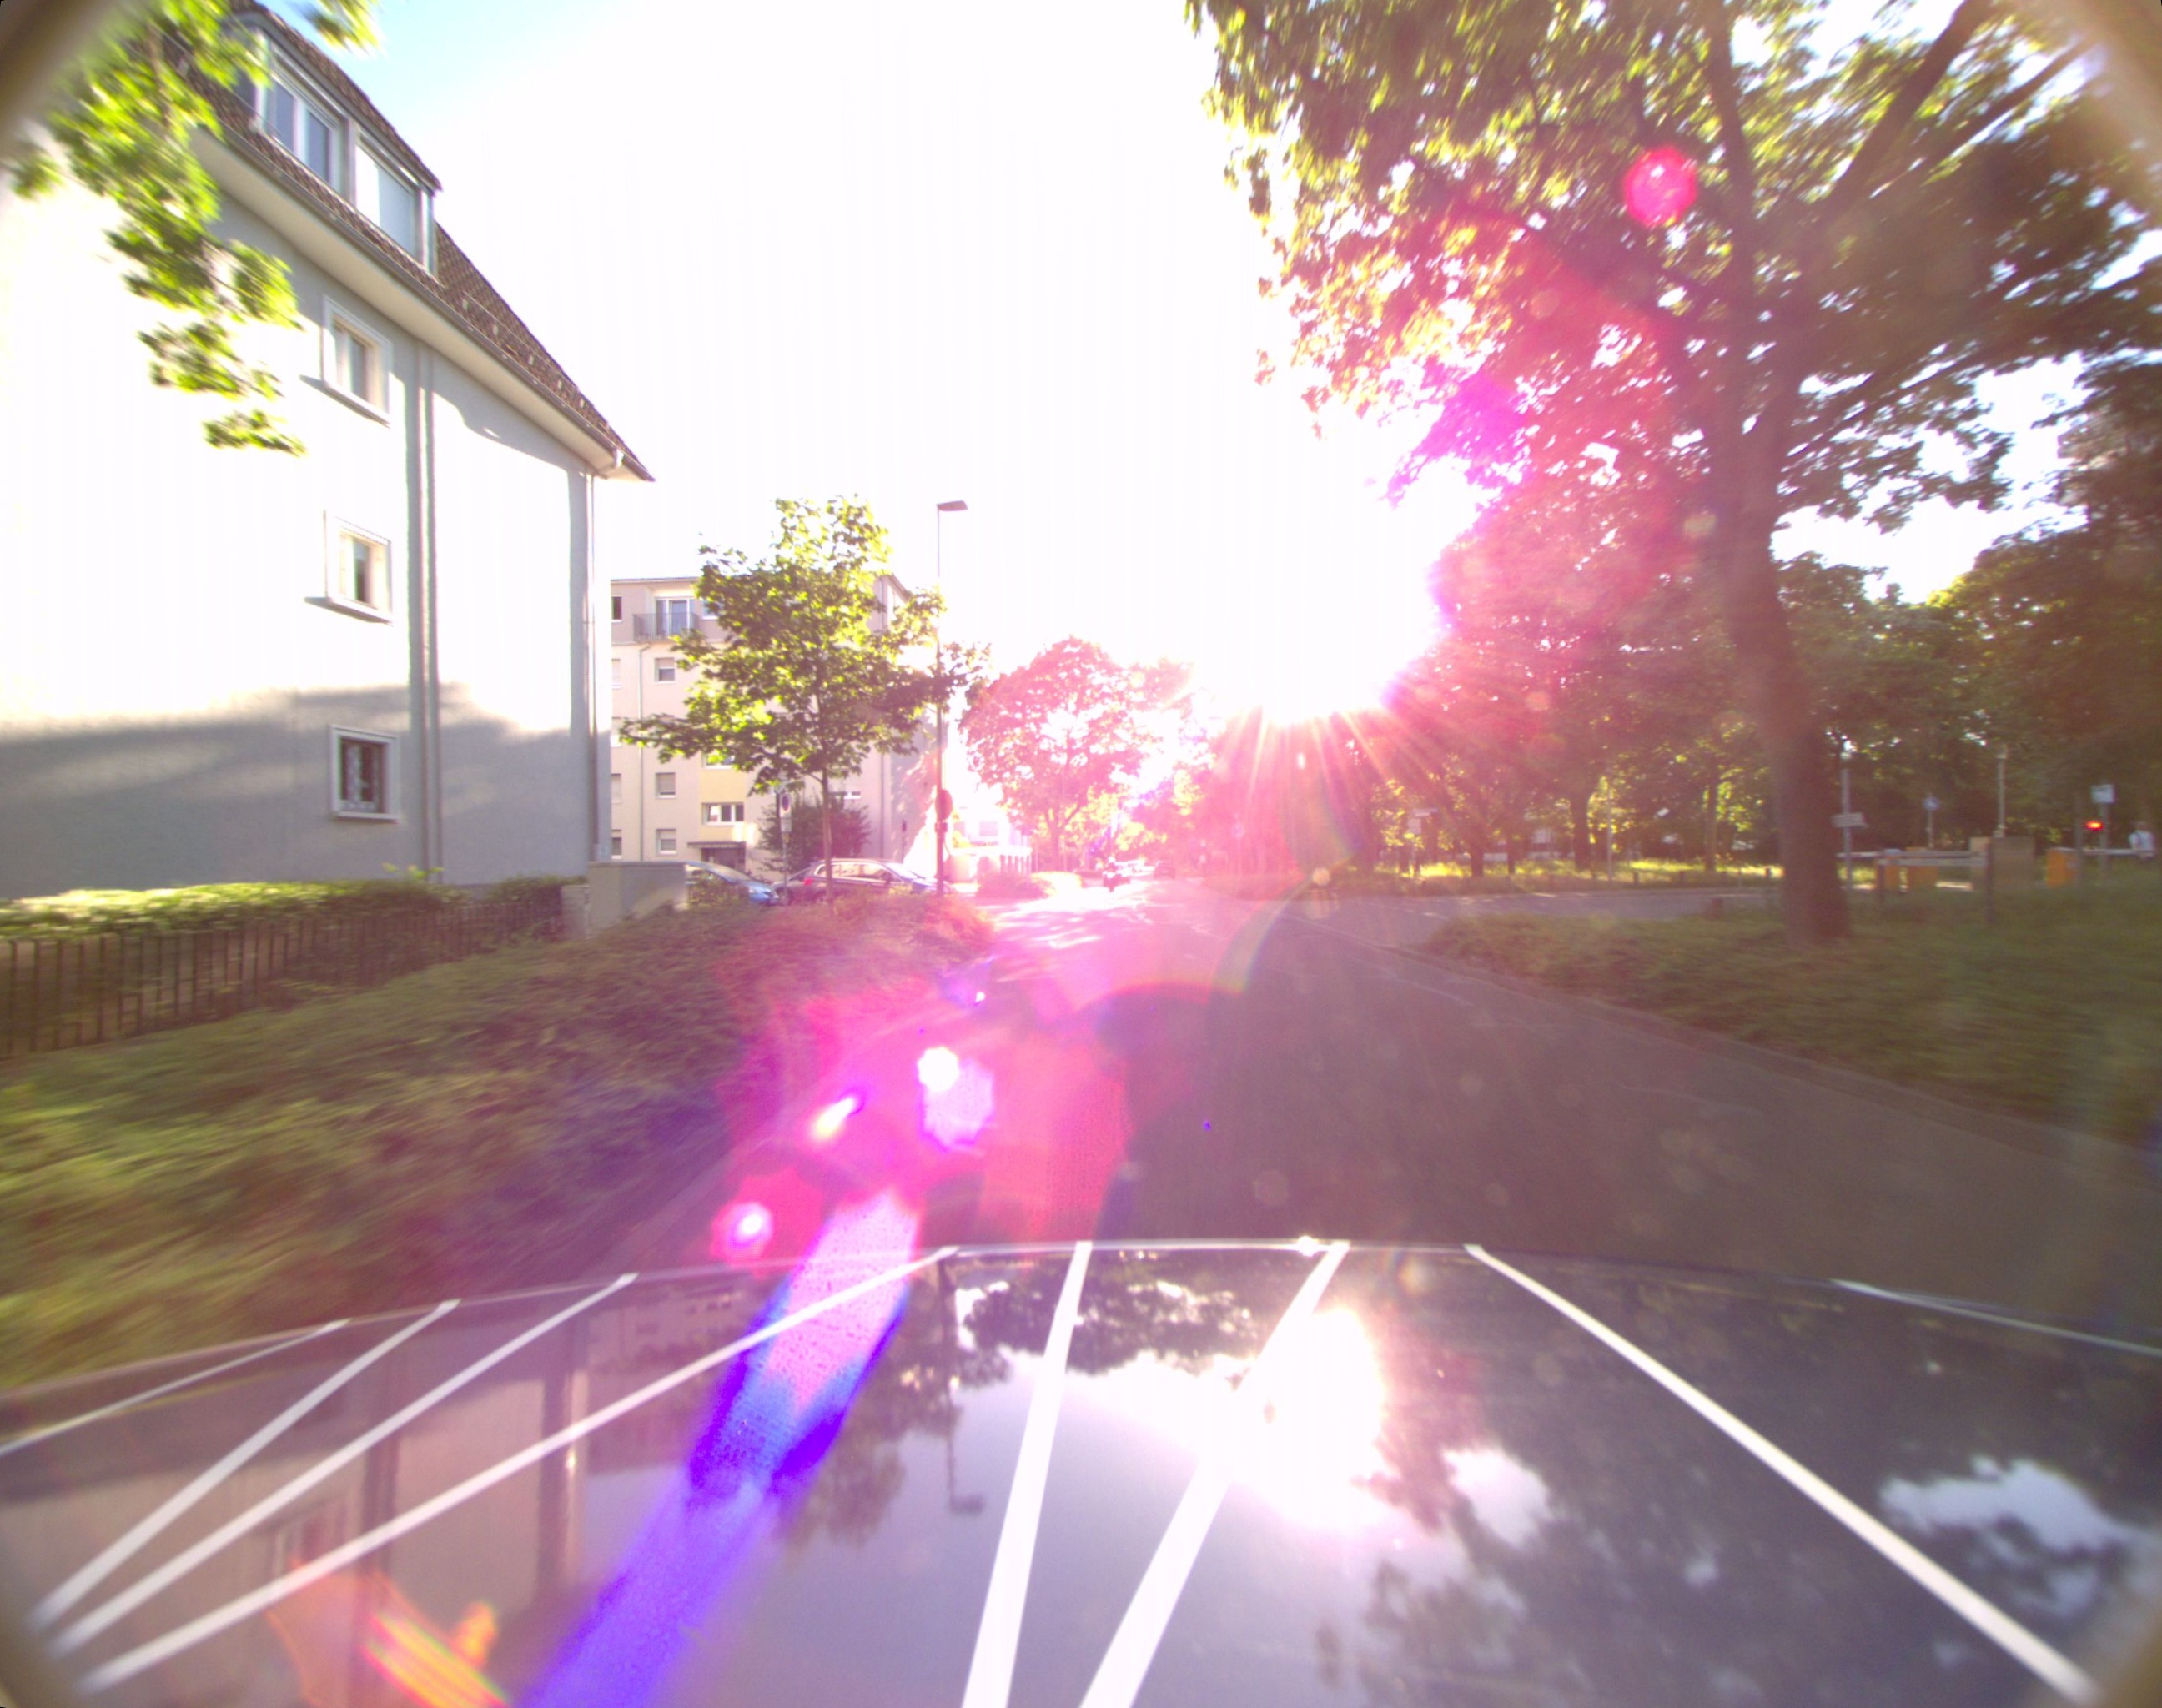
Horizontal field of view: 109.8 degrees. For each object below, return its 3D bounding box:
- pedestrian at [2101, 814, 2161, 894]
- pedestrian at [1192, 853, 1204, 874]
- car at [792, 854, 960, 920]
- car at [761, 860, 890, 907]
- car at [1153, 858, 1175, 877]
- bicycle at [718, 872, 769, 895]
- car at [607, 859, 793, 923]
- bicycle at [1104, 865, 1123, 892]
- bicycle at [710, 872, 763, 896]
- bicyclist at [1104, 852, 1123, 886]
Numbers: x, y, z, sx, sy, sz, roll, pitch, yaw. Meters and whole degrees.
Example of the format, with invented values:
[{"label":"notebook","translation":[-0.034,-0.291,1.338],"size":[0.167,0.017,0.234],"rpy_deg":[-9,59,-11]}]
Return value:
[{"label":"pedestrian","translation":[27.104,-0.001,19.602],"size":[0.758,2.002,0.590],"rpy_deg":[-2,0,3]},{"label":"pedestrian","translation":[10.300,0.835,66.993],"size":[0.905,1.810,0.721],"rpy_deg":[-1,0,2]},{"label":"car","translation":[-5.848,0.917,21.904],"size":[4.273,1.663,1.770],"rpy_deg":[-3,0,9]},{"label":"car","translation":[-9.242,1.064,27.700],"size":[4.050,1.505,1.727],"rpy_deg":[-2,1,2]},{"label":"car","translation":[7.275,1.155,66.842],"size":[1.848,1.569,4.338],"rpy_deg":[1,0,6]},{"label":"bicycle","translation":[-14.867,1.278,33.487],"size":[1.975,0.954,0.545],"rpy_deg":[-1,0,0]},{"label":"car","translation":[-9.992,0.957,20.125],"size":[3.997,1.572,1.810],"rpy_deg":[-1,-1,0]},{"label":"bicycle","translation":[1.610,1.178,37.186],"size":[0.829,1.182,2.303],"rpy_deg":[-2,0,4]},{"label":"bicycle","translation":[-14.359,1.260,31.681],"size":[1.906,0.954,0.545],"rpy_deg":[-1,0,0]},{"label":"bicyclist","translation":[1.578,0.726,37.099],"size":[0.819,1.635,0.745],"rpy_deg":[-2,0,4]}]
